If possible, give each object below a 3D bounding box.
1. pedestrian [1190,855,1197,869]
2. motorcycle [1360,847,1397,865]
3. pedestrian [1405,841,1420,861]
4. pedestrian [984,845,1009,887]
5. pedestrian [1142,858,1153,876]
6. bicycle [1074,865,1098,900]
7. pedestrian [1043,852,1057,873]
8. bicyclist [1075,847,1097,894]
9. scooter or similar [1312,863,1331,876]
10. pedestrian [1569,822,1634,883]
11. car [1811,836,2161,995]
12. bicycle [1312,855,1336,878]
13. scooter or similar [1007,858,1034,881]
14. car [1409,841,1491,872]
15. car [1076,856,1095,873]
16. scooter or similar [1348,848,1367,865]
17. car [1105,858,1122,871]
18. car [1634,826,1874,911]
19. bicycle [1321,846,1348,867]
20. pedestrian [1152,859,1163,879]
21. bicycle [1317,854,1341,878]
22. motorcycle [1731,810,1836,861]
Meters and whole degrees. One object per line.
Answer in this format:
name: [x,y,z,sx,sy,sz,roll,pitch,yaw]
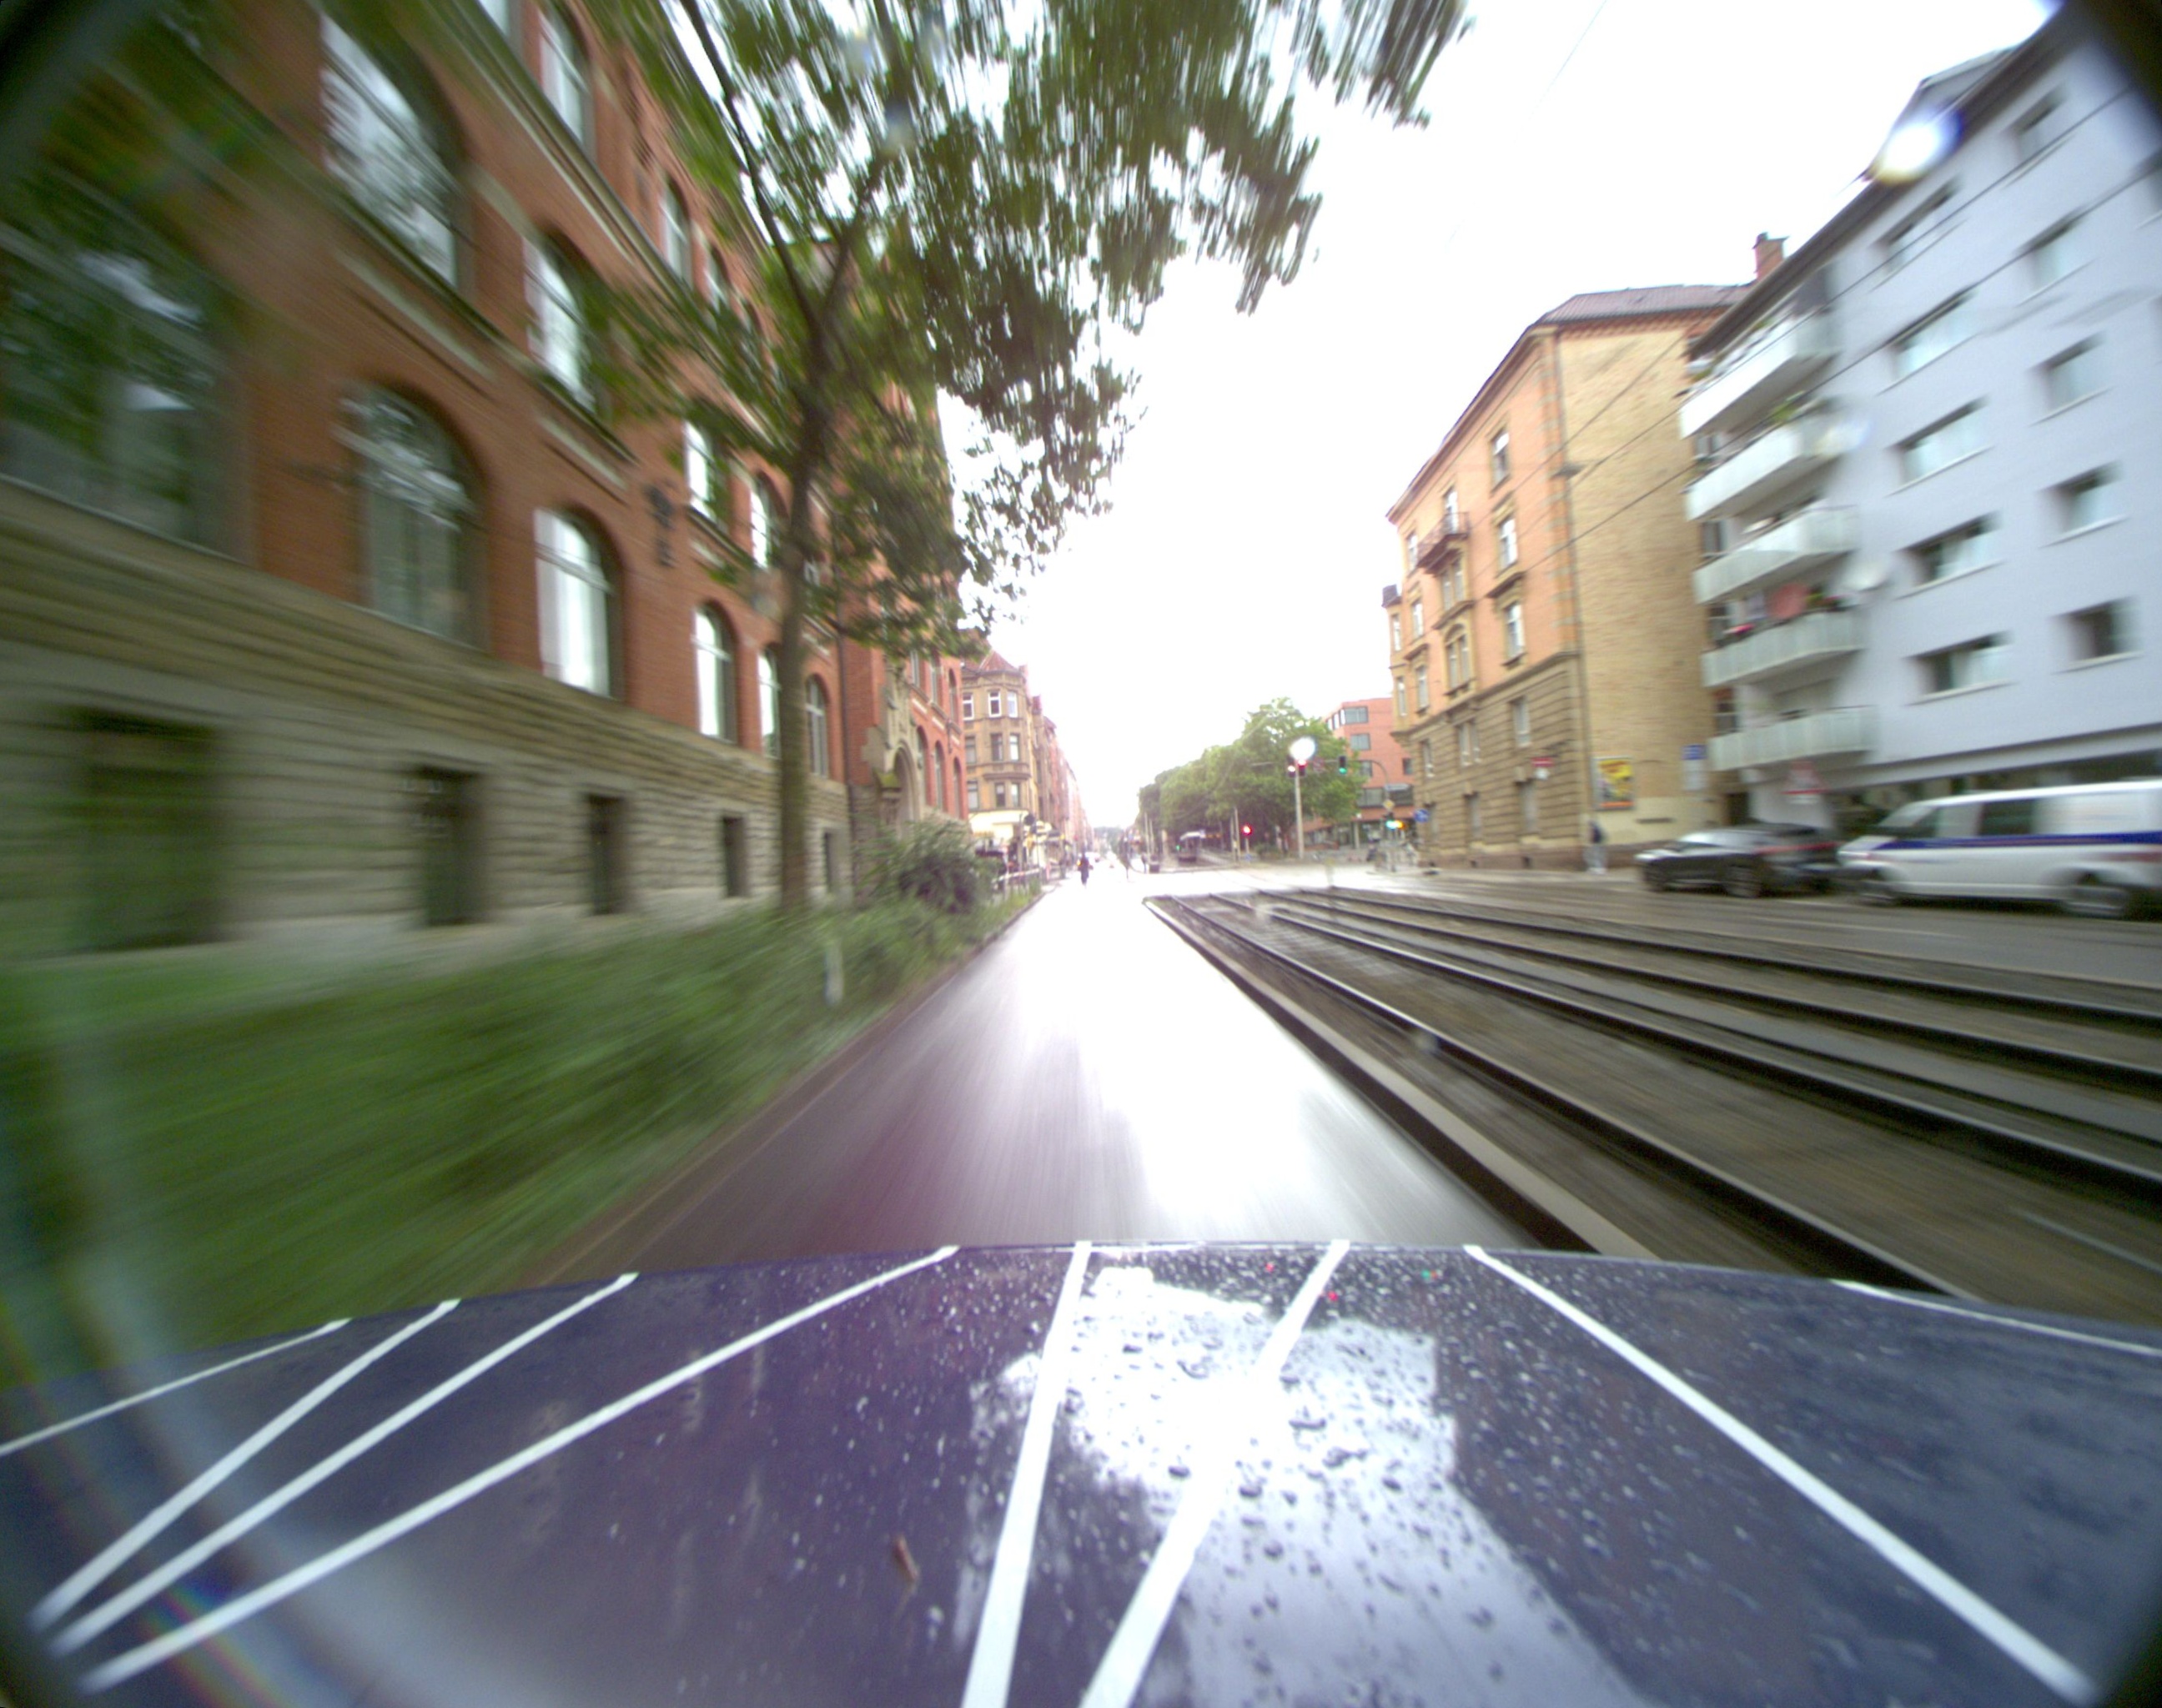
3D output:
pedestrian: [17.184,1.281,116.434,0.837,2.050,0.884,-3,0,-2]
motorcycle: [24.745,0.171,63.167,2.658,1.363,0.866,-3,0,-5]
pedestrian: [29.582,-0.236,67.843,0.898,1.719,1.009,-3,0,2]
pedestrian: [-3.872,0.567,34.936,0.960,1.876,1.074,-2,-1,1]
pedestrian: [5.963,1.164,68.105,0.837,1.595,1.001,-3,0,0]
bicycle: [0.290,1.371,37.207,0.936,1.545,3.136,-3,0,3]
pedestrian: [-2.633,0.738,63.988,0.996,1.694,0.781,-4,0,1]
bicyclist: [0.255,0.798,37.280,0.920,2.249,1.288,-3,0,3]
scooter or similar: [22.620,1.472,71.467,1.720,1.187,0.478,-3,0,-19]
pedestrian: [17.276,-0.034,25.247,1.175,1.917,1.177,-4,-1,-6]
car: [15.534,0.852,12.367,2.075,1.997,5.303,-6,-2,1]
bicycle: [22.437,1.130,70.078,1.896,2.001,0.518,-4,0,-5]
scooter or similar: [-3.337,0.851,41.982,1.248,1.243,0.639,-2,0,23]
car: [21.201,0.165,43.765,3.796,1.529,1.777,-3,0,-5]
car: [0.539,1.253,90.876,1.825,1.893,5.993,-4,-1,3]
scooter or similar: [23.659,0.213,65.007,1.507,1.363,0.452,-4,-1,-15]
car: [3.871,1.254,91.019,1.883,1.438,4.001,-4,-1,1]
car: [15.480,0.343,17.861,1.737,1.641,4.365,-4,-1,1]
bicycle: [22.403,0.202,67.093,2.096,1.688,0.556,-5,2,-5]
pedestrian: [6.820,1.340,67.846,0.827,1.788,1.001,-3,0,0]
bicycle: [22.537,1.109,69.083,1.896,2.001,0.518,-4,0,-5]
motorcycle: [20.566,-0.505,22.336,0.931,1.368,2.309,-3,0,1]
